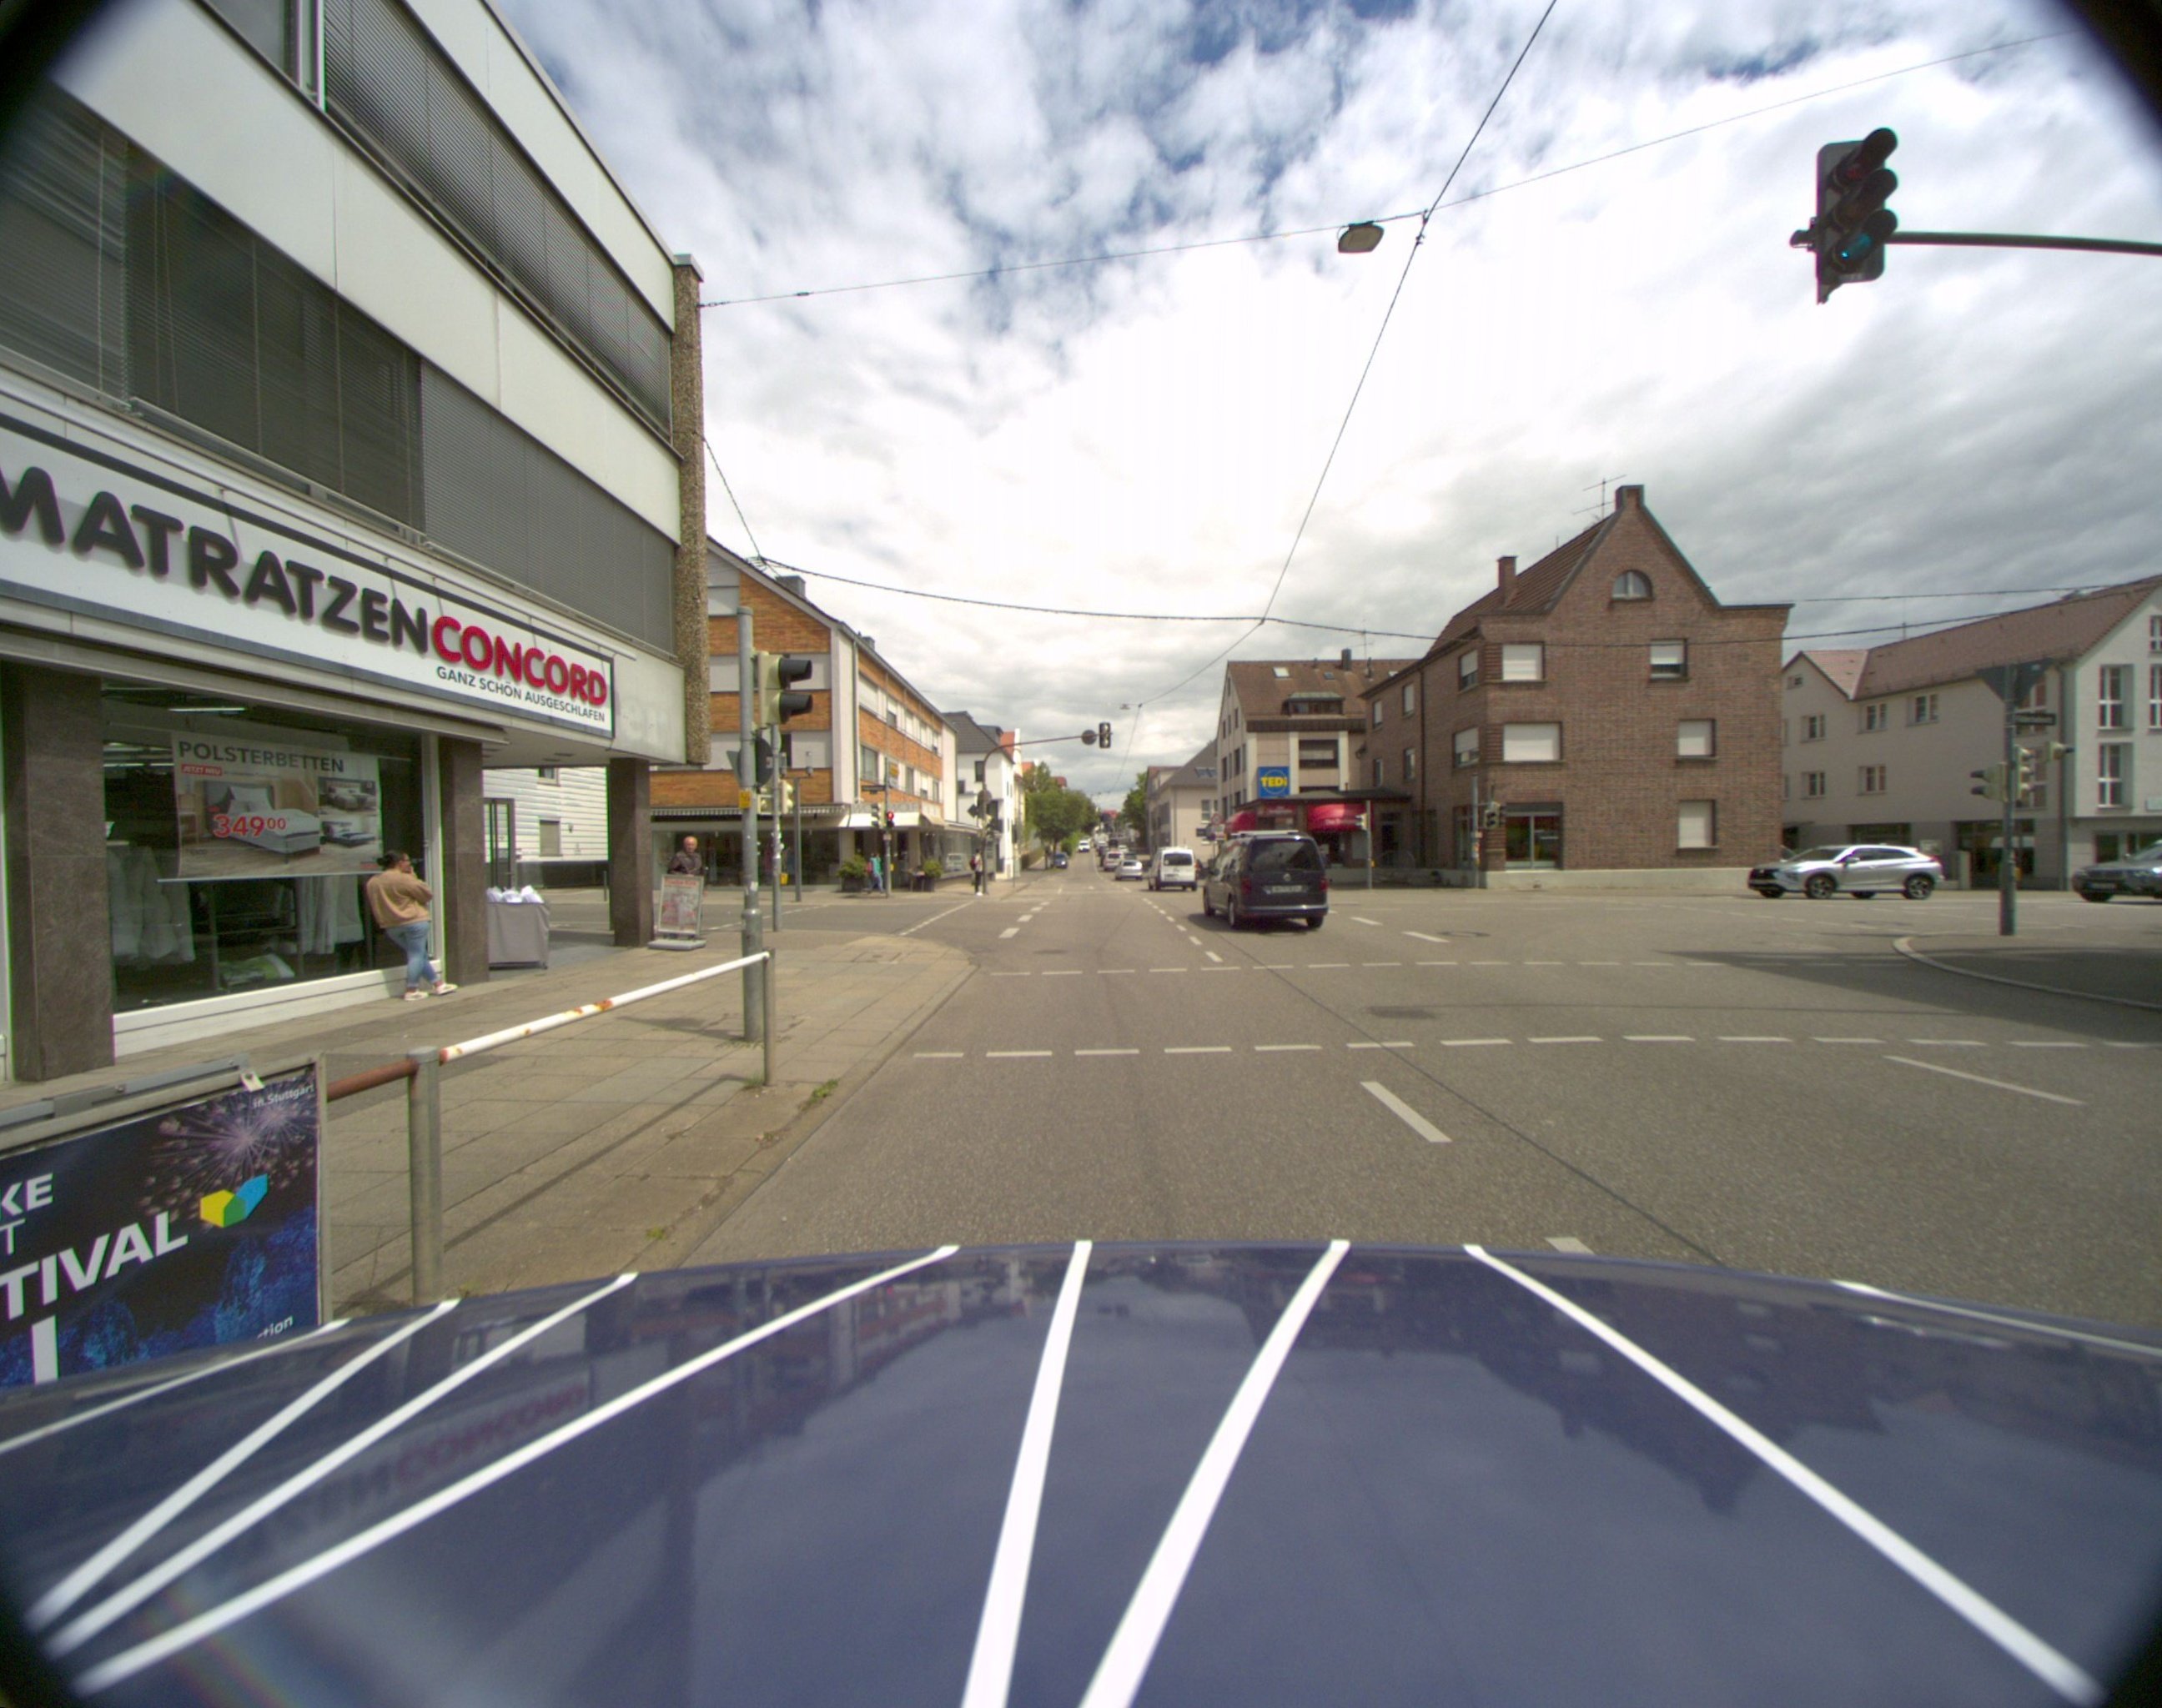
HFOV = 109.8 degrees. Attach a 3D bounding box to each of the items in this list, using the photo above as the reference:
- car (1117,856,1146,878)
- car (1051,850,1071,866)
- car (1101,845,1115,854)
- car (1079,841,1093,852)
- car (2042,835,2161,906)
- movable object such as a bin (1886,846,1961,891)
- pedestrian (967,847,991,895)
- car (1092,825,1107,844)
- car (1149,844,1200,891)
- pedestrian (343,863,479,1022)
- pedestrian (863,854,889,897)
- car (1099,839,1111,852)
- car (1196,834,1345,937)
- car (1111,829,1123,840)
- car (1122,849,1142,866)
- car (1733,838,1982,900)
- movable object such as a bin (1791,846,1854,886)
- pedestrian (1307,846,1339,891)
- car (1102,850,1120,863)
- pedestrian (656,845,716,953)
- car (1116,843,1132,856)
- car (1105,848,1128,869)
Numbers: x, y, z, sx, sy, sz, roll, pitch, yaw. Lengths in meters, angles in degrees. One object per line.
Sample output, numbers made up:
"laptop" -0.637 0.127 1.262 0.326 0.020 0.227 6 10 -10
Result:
"car" 3.631 0.928 55.116 1.757 1.478 3.970 0 0 -1
"car" -2.153 0.423 82.207 1.998 1.654 4.000 0 0 1
"car" 3.903 -0.650 111.657 1.858 1.414 4.192 0 0 -1
"car" 0.819 -1.214 123.412 2.000 1.797 4.764 2 0 -1
"car" 28.163 0.399 19.517 4.348 1.744 2.000 0 0 1
"movable object such as a bin" 31.415 0.524 28.358 1.519 1.615 1.145 -2 1 4
"pedestrian" -3.886 0.645 29.083 0.581 1.820 0.882 1 1 17
"car" 3.434 -3.529 141.708 2.428 3.409 7.636 0 0 -1
"car" 4.047 0.548 33.439 1.819 1.919 4.112 0 0 1
"pedestrian" -6.644 0.846 7.572 0.681 1.490 0.720 0 1 1
"pedestrian" -7.255 0.744 26.872 0.820 1.517 0.778 0 1 -19
"car" 3.936 -1.385 125.523 1.858 1.957 4.192 0 0 -1
"car" 3.802 0.555 16.194 1.953 1.866 4.876 0 0 0
"car" 6.844 -3.684 144.541 2.110 2.109 4.765 0 0 1
"car" 6.259 0.409 93.900 2.110 2.109 4.765 -1 0 1
"car" 23.237 0.451 22.920 5.254 1.758 2.001 0 0 4
"movable object such as a bin" 31.278 0.488 32.072 1.519 1.615 1.145 -2 1 4
"pedestrian" 9.436 0.560 29.665 0.908 1.713 0.849 -1 1 -41
"car" 3.417 0.283 87.430 1.858 1.371 4.271 0 0 -1
"pedestrian" -6.379 0.694 12.259 0.799 1.661 0.805 0 1 -32
"car" 6.271 -0.688 111.401 2.110 1.778 4.529 -1 0 1
"car" 3.505 0.404 75.192 1.982 1.985 5.027 0 0 -1
